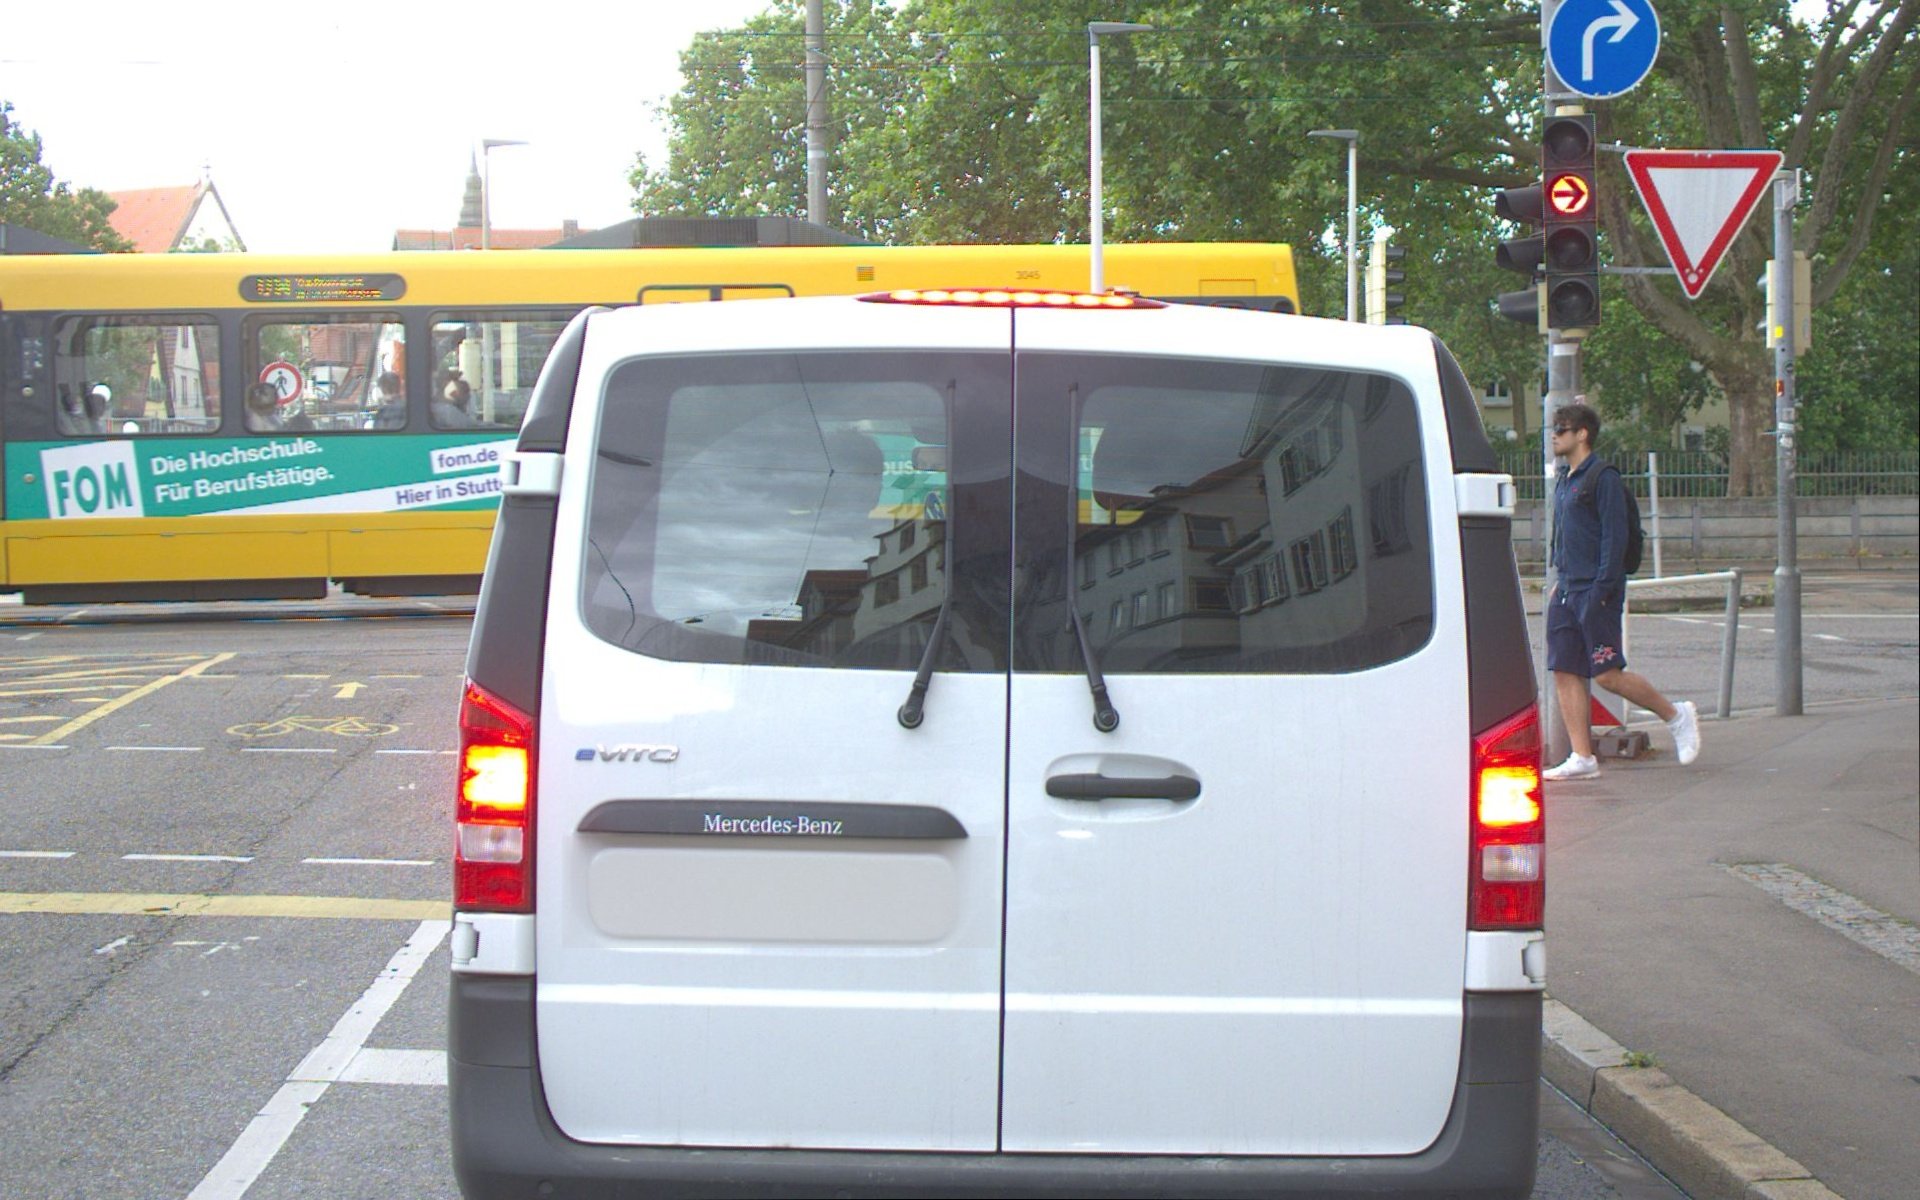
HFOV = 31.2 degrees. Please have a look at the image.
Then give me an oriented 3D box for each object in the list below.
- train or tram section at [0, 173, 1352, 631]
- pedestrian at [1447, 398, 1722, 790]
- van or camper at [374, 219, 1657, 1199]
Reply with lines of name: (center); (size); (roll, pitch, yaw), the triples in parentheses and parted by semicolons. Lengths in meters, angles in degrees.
train or tram section: (-5.790, -1.909, 33.097); (18.766, 3.988, 3.267); (-2, 4, -9)
pedestrian: (3.078, -0.049, 16.931); (1.150, 1.850, 0.679); (-3, 2, -35)
van or camper: (-0.024, 0.332, 7.469); (1.937, 1.918, 4.442); (1, 2, -3)
